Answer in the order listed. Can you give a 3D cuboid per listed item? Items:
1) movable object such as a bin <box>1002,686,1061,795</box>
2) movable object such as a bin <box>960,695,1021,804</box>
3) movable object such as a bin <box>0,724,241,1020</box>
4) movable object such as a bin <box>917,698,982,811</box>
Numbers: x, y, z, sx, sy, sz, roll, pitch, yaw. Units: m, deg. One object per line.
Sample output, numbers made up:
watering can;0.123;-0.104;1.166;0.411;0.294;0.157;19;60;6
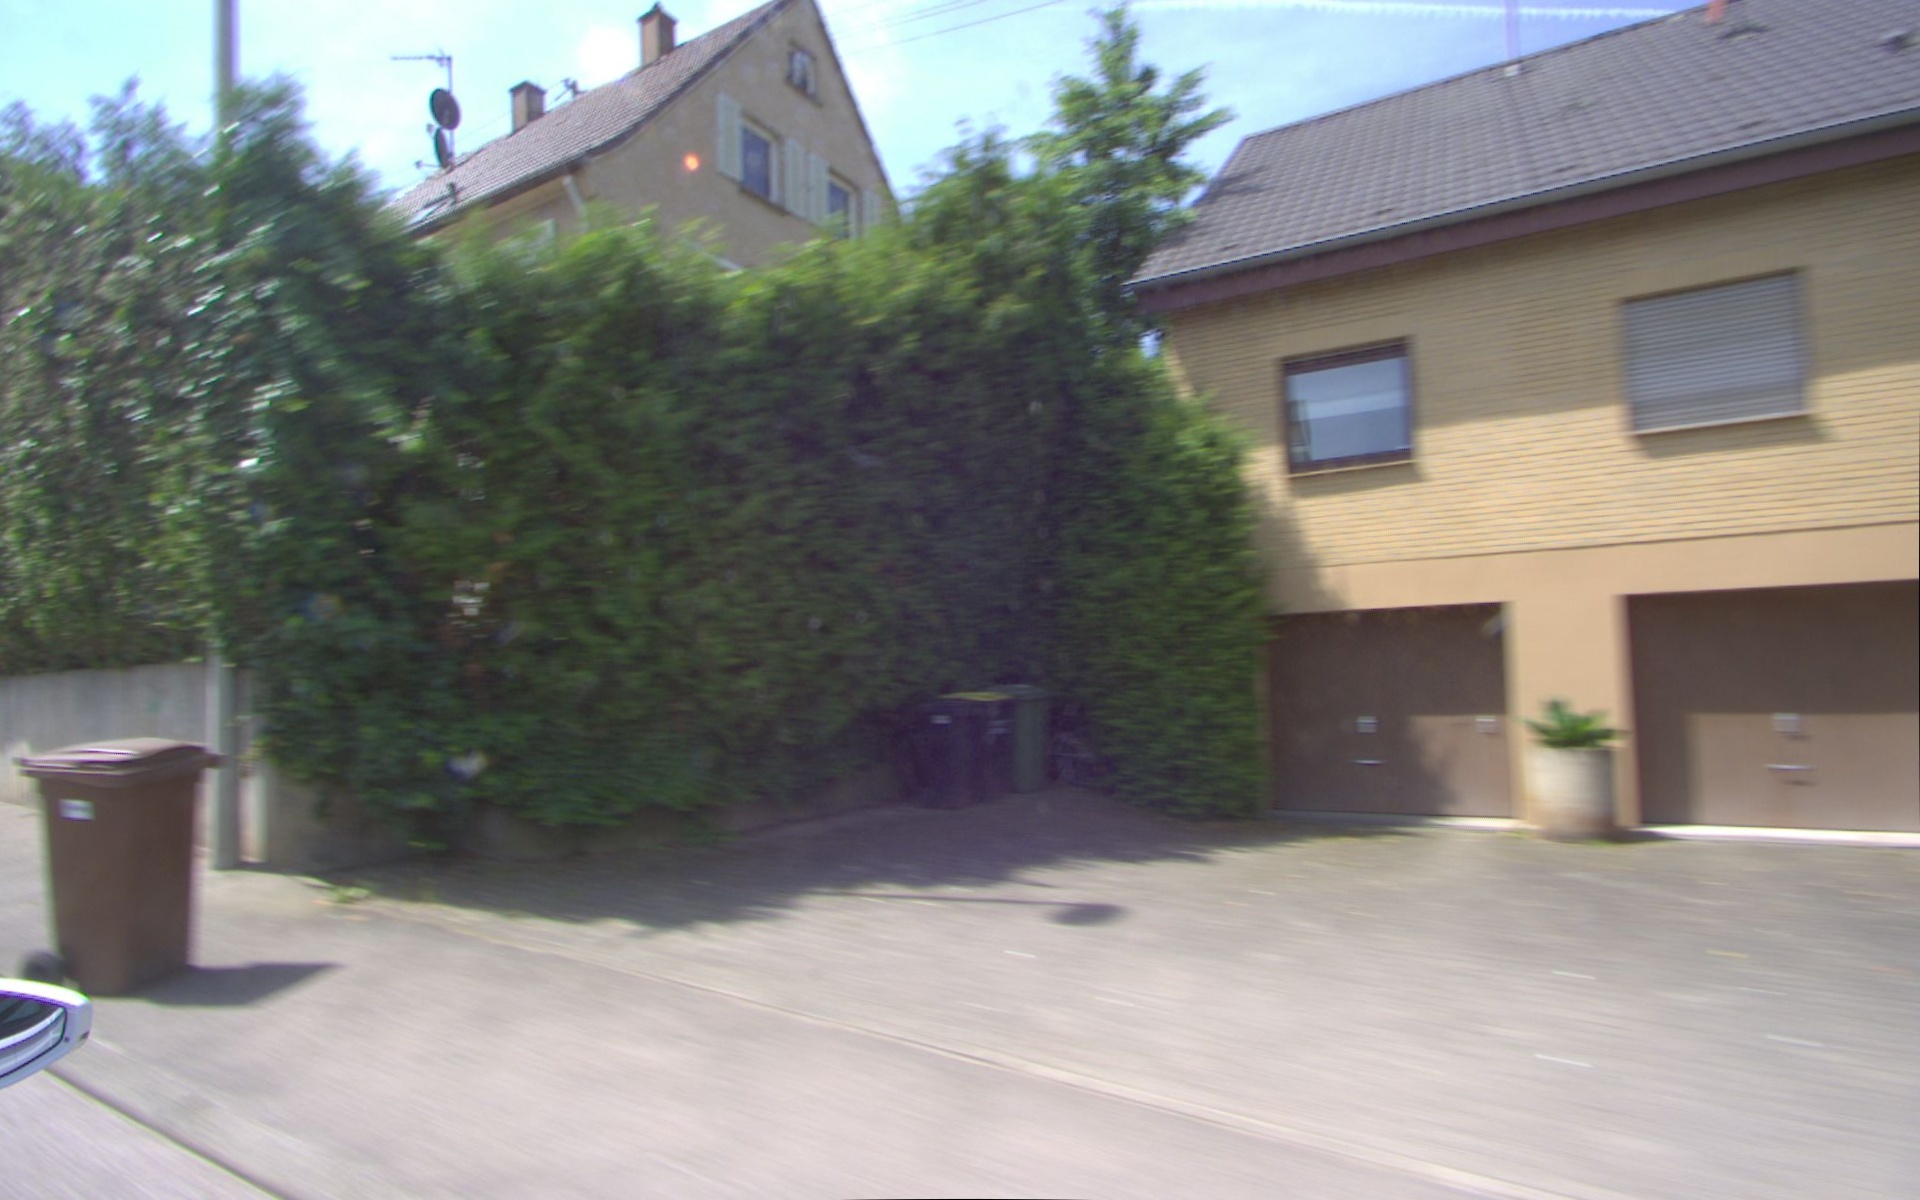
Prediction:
movable object such as a bin;0.730;1.416;10.218;0.466;1.064;0.400;-1;-2;31
movable object such as a bin;0.296;1.423;9.654;0.466;0.985;0.386;-1;-2;31
movable object such as a bin;-3.487;1.055;4.123;0.775;0.990;0.587;-1;0;31
movable object such as a bin;-0.094;1.414;9.276;0.466;0.985;0.386;-1;-2;31
